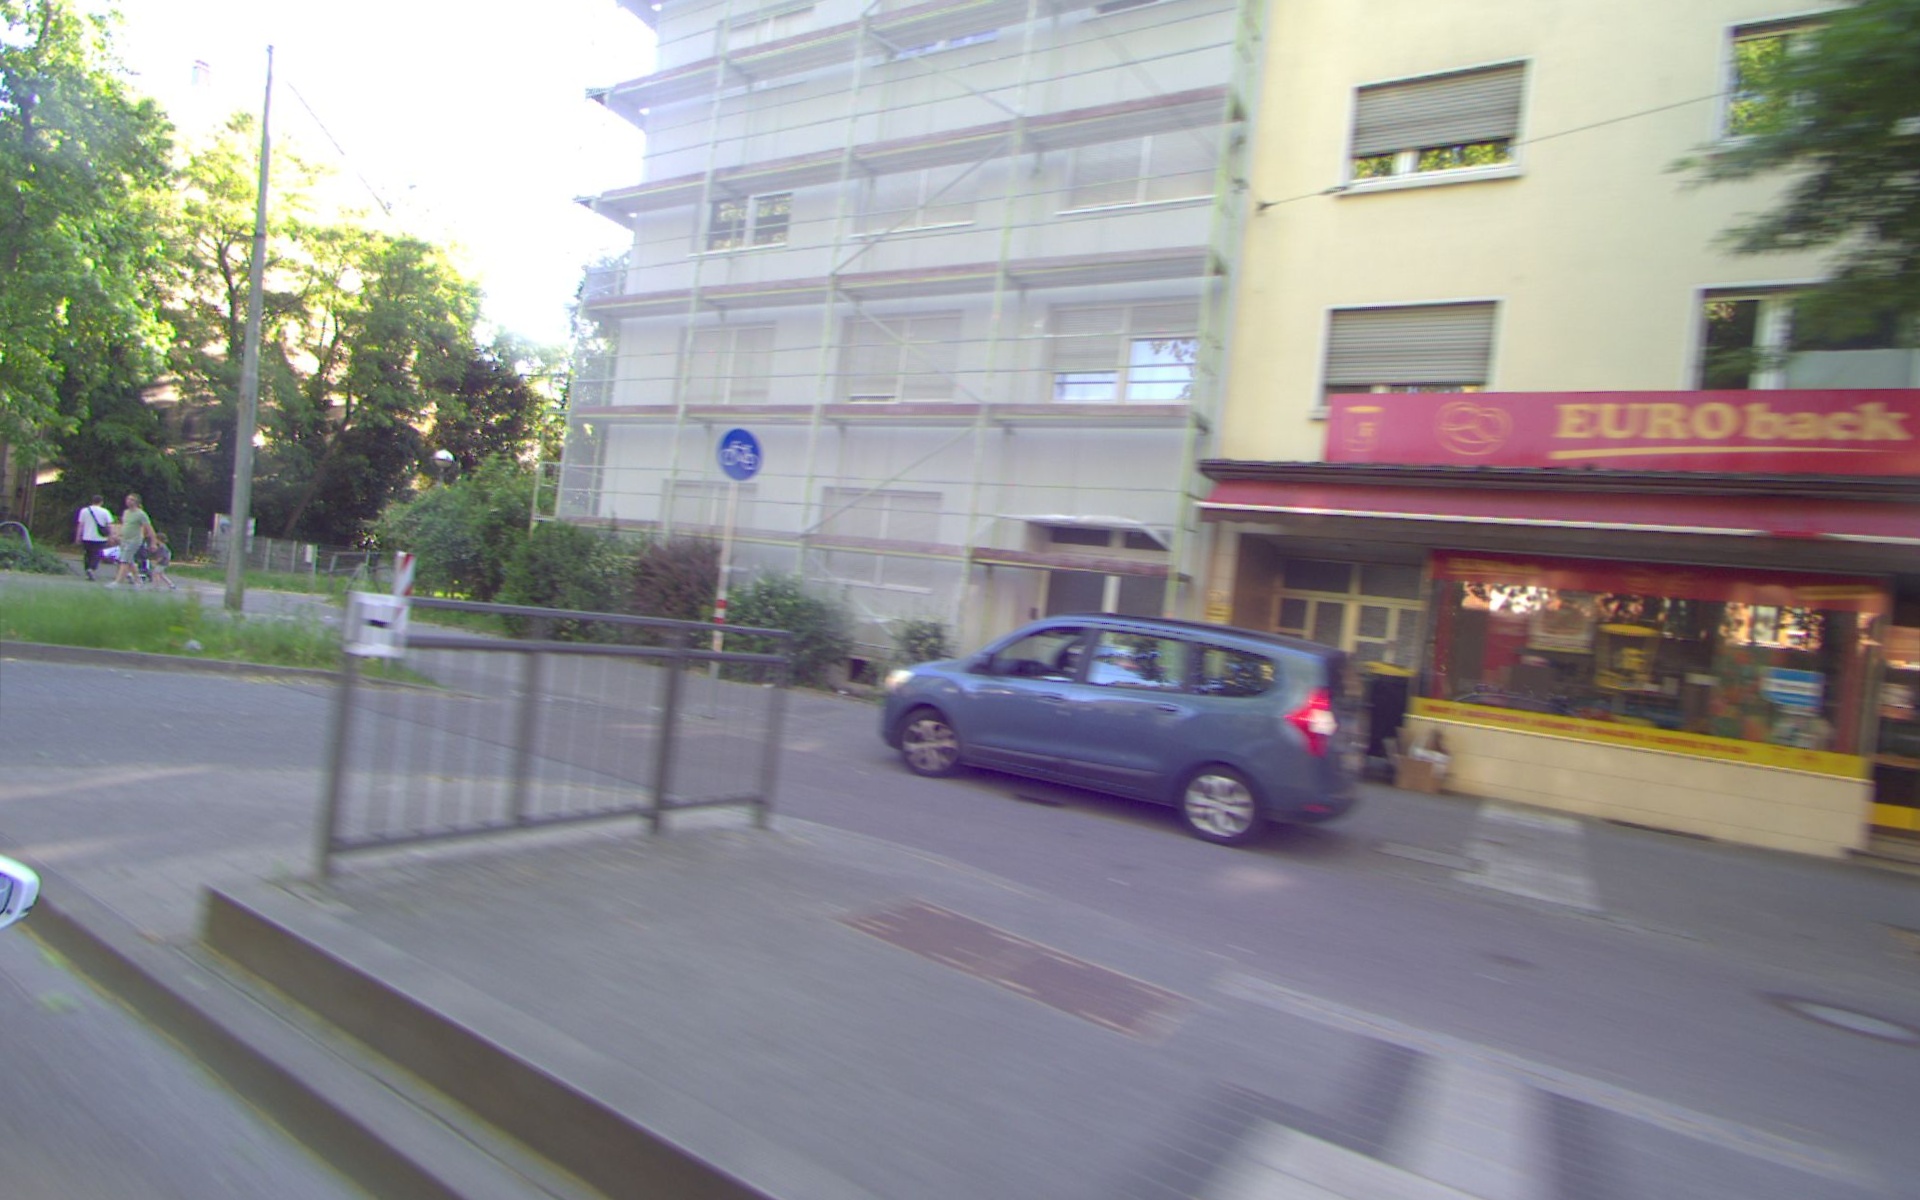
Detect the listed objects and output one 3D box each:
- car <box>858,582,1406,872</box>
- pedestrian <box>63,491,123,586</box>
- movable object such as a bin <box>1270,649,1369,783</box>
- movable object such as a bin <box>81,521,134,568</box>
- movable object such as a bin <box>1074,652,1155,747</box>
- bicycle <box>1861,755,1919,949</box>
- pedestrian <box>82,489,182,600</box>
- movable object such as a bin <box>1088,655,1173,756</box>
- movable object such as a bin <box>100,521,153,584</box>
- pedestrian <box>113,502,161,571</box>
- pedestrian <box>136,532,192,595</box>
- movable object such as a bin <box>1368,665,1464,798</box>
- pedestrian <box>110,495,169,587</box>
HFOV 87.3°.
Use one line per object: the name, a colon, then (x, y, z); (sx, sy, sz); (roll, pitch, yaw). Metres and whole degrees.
car: (1.415, 0.926, 9.004); (4.369, 1.642, 1.763); (7, 1, 33)
pedestrian: (-17.667, -1.255, 20.498); (0.841, 1.816, 0.724); (7, 2, 42)
movable object such as a bin: (4.263, 1.341, 11.894); (0.810, 1.414, 1.000); (7, 1, 29)
movable object such as a bin: (-23.414, -1.518, 27.625); (0.939, 1.139, 0.667); (7, -1, 24)
movable object such as a bin: (2.041, 1.296, 13.266); (0.685, 1.125, 0.882); (6, 1, 29)
bicycle: (7.509, 1.821, 6.720); (2.169, 1.225, 0.685); (6, 1, 3)
pedestrian: (-15.695, -1.041, 19.095); (0.979, 1.907, 0.871); (7, -1, 13)
movable object such as a bin: (2.119, 1.285, 12.461); (0.685, 1.125, 0.882); (6, 1, 29)
movable object such as a bin: (-18.023, -1.033, 21.736); (1.287, 1.218, 0.637); (7, 2, 42)
pedestrian: (-22.315, -1.719, 27.283); (0.544, 1.746, 0.620); (7, -1, 16)
pedestrian: (-15.740, -0.719, 19.892); (0.651, 1.131, 0.673); (6, -2, 42)
movable object such as a bin: (5.263, 1.480, 11.600); (0.810, 1.367, 0.924); (7, 1, 29)
pedestrian: (-17.277, -1.236, 21.186); (0.954, 1.816, 0.724); (7, 2, 42)
